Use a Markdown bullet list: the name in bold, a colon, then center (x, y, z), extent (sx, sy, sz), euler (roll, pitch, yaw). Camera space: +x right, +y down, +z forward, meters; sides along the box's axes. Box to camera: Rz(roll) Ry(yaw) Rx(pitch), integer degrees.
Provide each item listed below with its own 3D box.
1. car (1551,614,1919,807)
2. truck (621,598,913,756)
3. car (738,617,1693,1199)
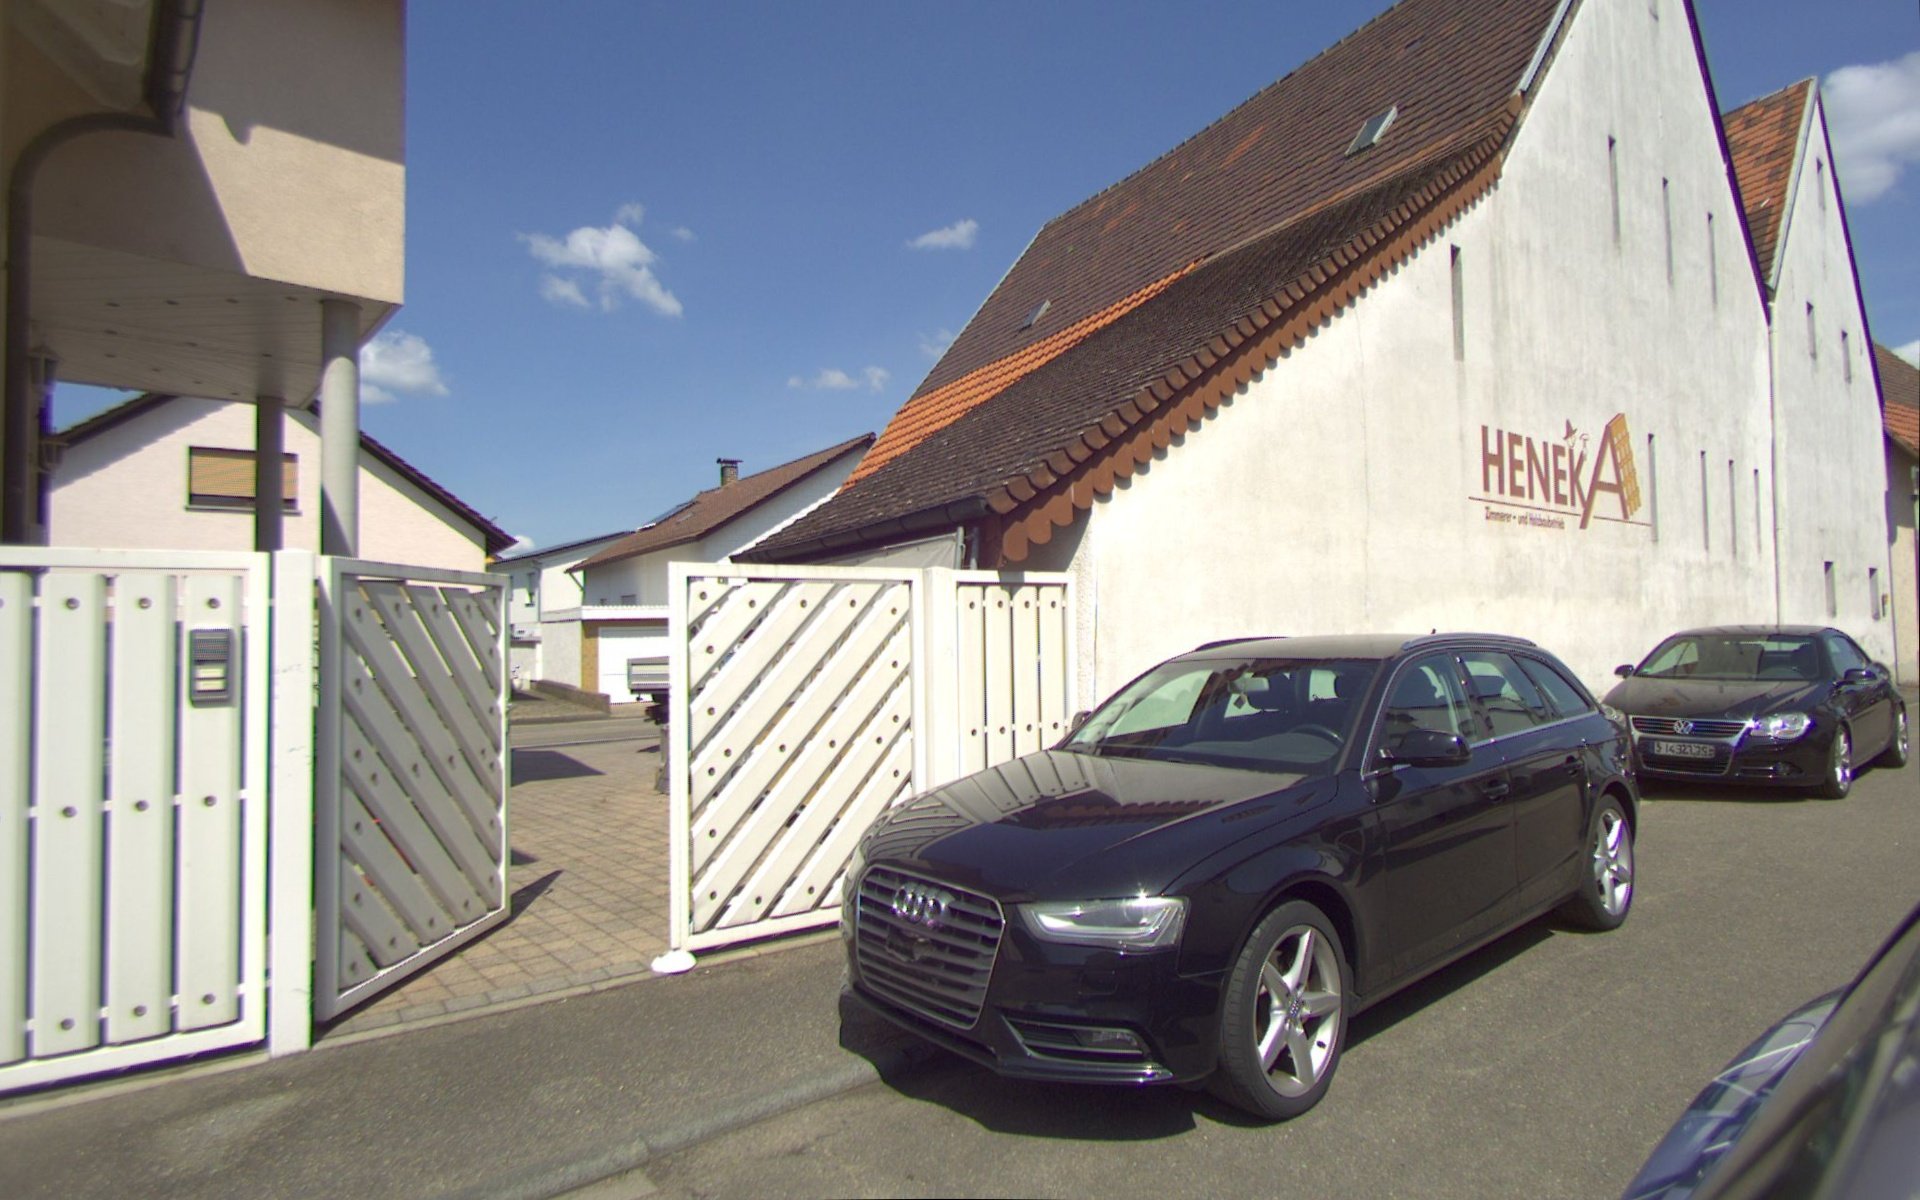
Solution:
- **car**: center (7.616, 0.881, 9.663), extent (4.333, 1.383, 1.899), euler (0, -2, -38)
- **truck**: center (-2.676, 1.079, 14.785), extent (3.922, 2.040, 2.000), euler (-1, -2, -3)
- **car**: center (1.530, 0.827, 4.693), extent (4.653, 1.383, 1.899), euler (0, -2, -40)
